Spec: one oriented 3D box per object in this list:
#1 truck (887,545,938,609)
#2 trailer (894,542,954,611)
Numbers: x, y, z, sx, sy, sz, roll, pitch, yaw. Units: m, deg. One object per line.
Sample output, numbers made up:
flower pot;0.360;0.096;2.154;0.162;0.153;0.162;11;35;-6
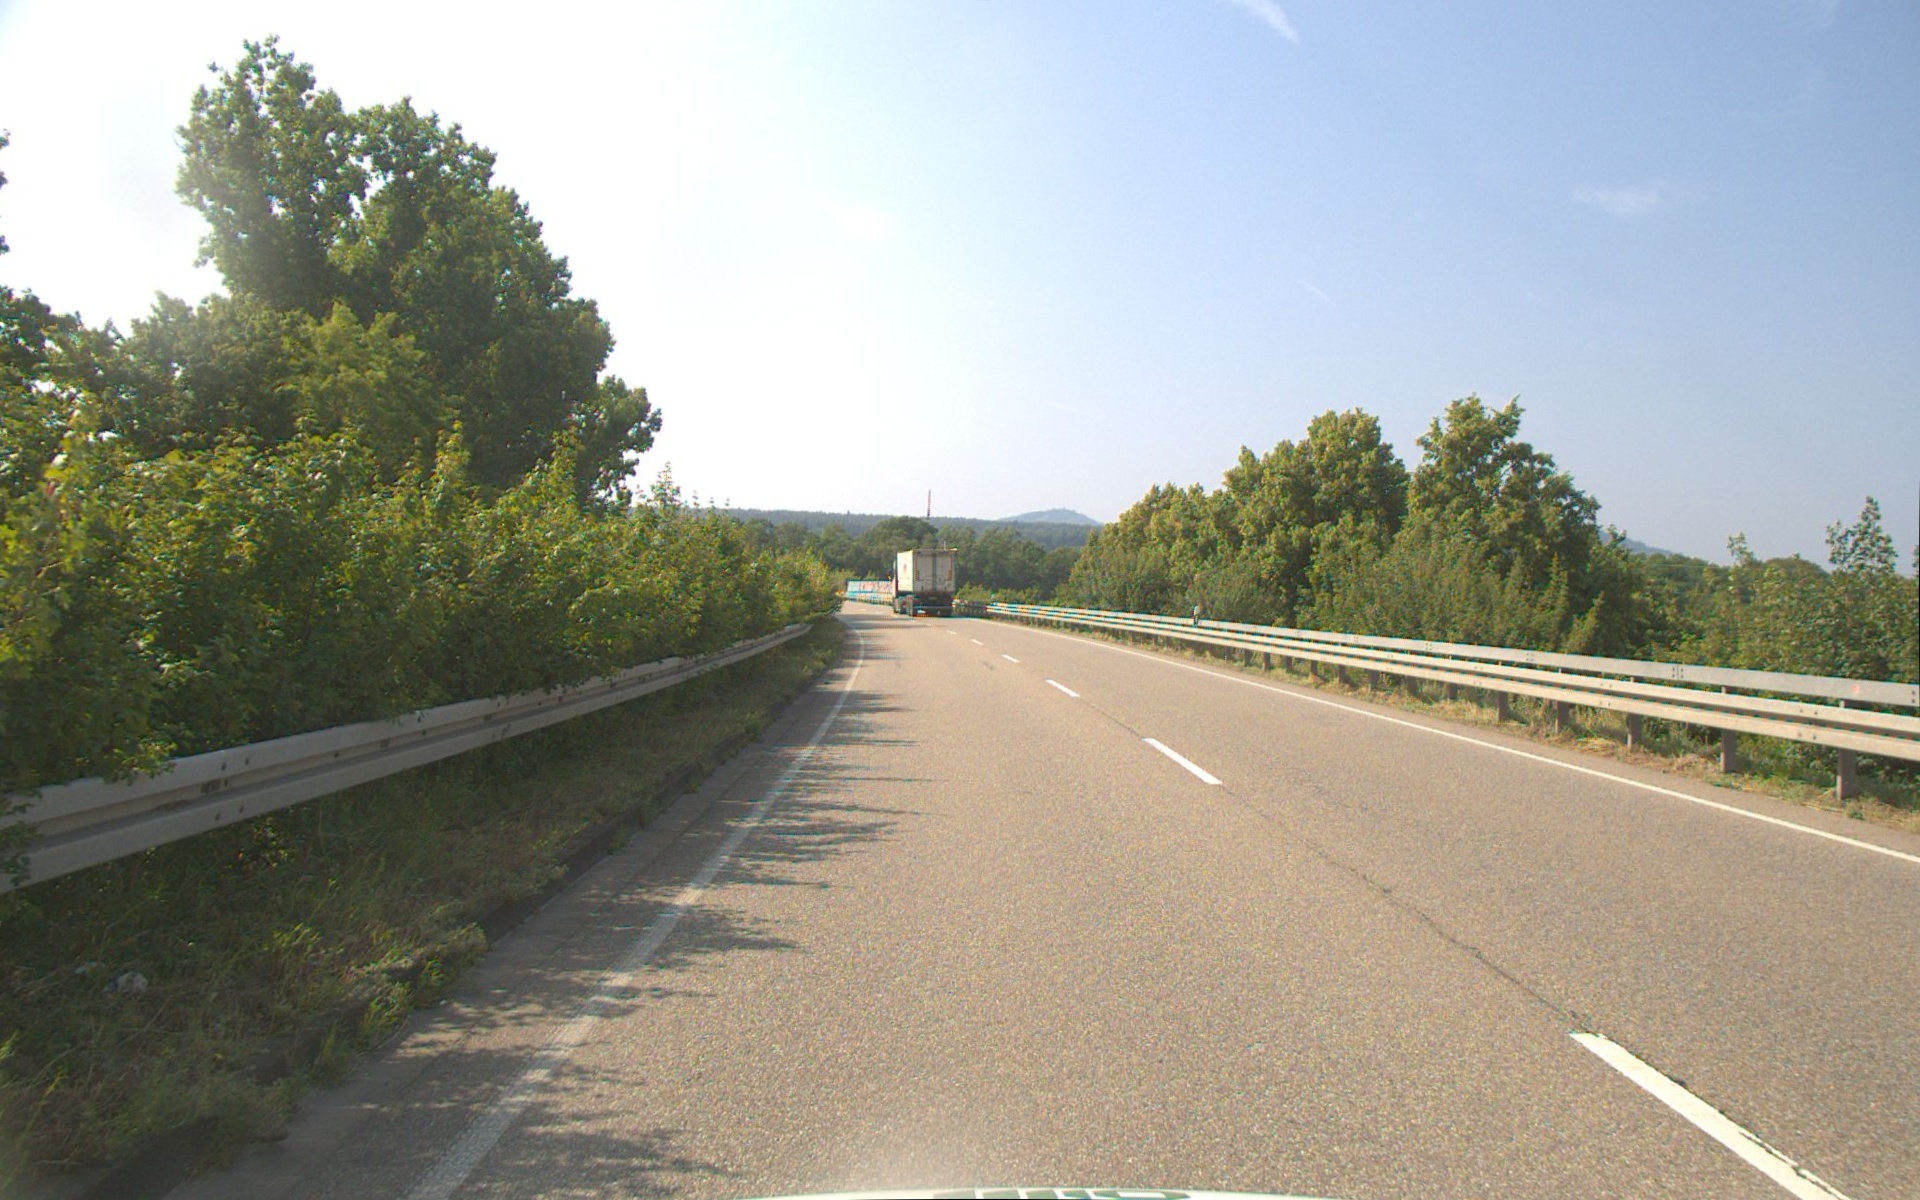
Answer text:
truck;-3.102;-1.497;106.475;2.609;3.964;5.638;1;1;-8
trailer;-2.280;-1.420;100.436;2.629;3.975;9.656;0;0;-8
